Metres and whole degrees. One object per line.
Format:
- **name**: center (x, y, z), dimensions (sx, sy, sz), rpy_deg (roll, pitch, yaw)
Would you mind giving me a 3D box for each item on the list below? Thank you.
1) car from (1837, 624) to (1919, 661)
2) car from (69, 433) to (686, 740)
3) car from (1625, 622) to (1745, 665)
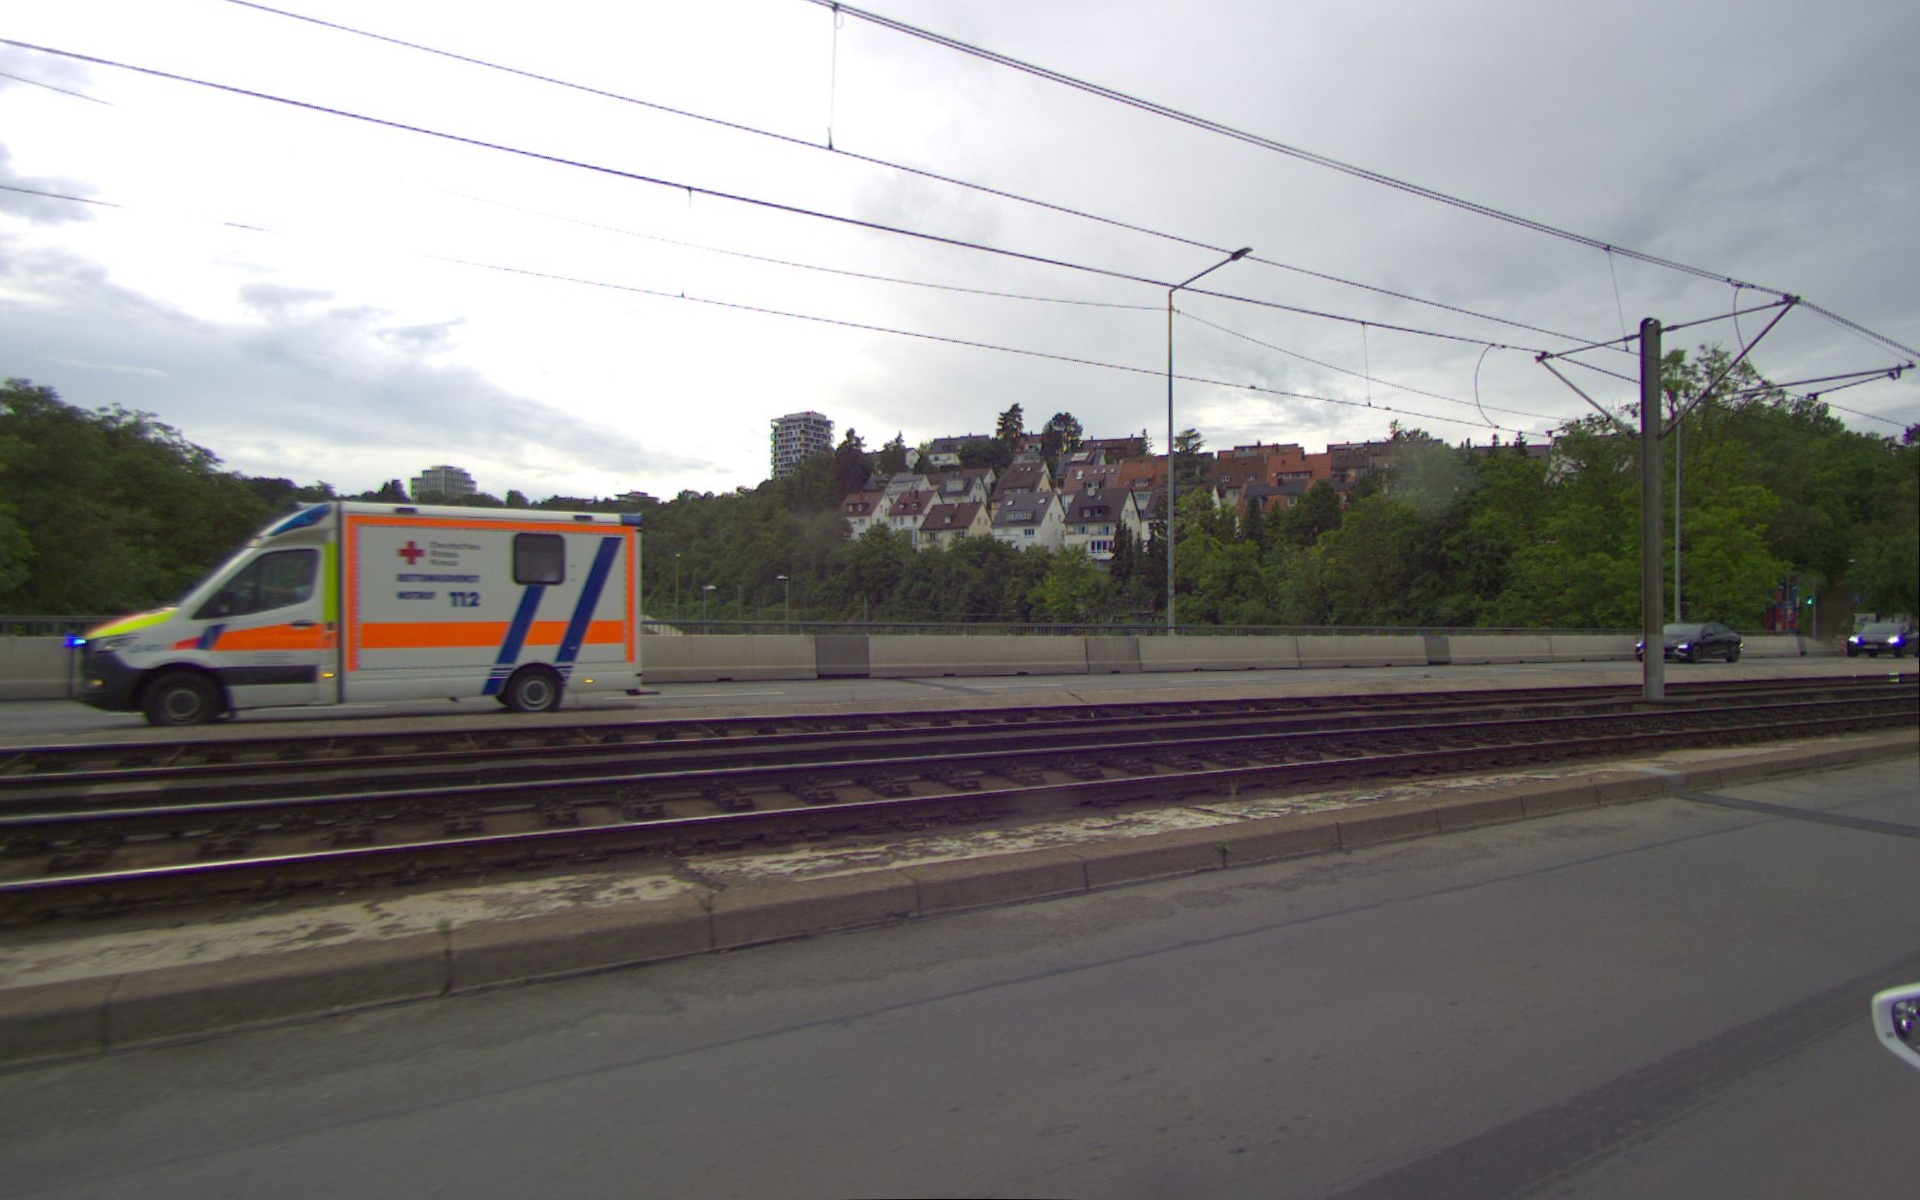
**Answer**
- **car**: center (42.548, 1.938, 46.484), dimensions (4.684, 1.618, 1.884), rpy_deg (1, -1, -35)
- **car**: center (-7.011, -0.077, 12.961), dimensions (6.284, 3.157, 2.377), rpy_deg (2, 0, -31)
- **car**: center (26.509, 1.565, 36.711), dimensions (4.684, 1.455, 1.808), rpy_deg (1, 0, -30)
